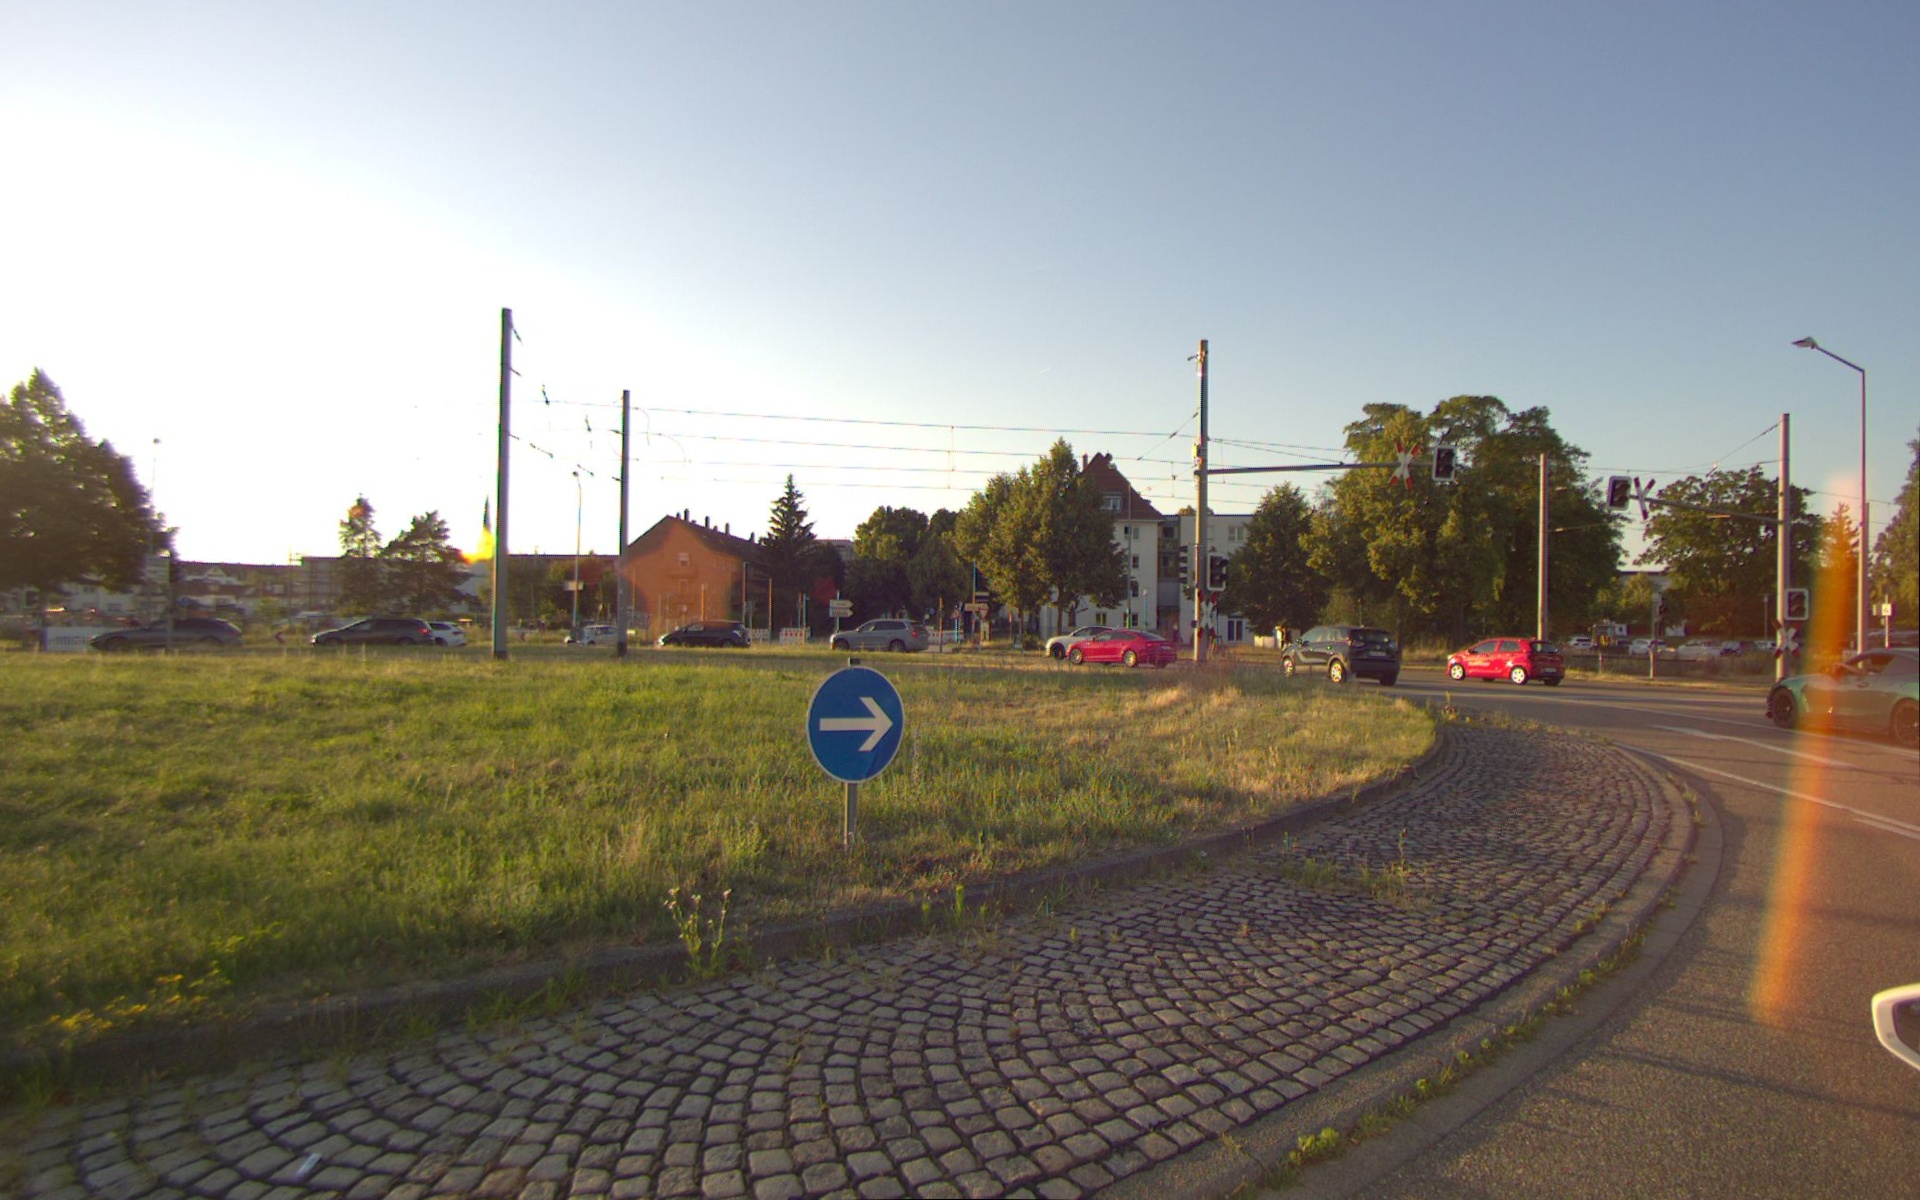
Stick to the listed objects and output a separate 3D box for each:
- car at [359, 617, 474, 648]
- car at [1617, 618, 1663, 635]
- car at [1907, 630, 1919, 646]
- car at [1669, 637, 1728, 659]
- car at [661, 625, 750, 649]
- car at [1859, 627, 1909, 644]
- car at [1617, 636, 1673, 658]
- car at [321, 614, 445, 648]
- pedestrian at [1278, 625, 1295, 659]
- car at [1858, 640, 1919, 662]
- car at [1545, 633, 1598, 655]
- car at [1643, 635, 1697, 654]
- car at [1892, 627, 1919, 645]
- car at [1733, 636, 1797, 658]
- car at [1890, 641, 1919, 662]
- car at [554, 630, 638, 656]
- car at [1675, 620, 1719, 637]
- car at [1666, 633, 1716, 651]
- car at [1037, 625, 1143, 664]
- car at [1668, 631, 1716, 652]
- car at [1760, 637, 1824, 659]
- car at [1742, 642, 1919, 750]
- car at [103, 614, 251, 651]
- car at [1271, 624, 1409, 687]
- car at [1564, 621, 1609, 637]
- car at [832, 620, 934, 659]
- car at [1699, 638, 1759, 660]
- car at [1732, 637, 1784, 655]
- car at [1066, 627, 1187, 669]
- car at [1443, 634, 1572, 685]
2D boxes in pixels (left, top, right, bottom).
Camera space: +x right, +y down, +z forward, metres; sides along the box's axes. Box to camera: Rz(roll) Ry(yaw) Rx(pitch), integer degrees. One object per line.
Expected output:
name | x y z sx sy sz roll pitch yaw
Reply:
car | -25.629 1.526 47.559 4.393 1.385 2.104 1 -1 -15
car | 86.232 3.399 127.440 4.505 2.040 2.001 1 -1 5
car | 105.563 4.125 108.720 1.971 1.728 3.979 1 -1 -22
car | 59.495 3.860 81.037 1.960 1.625 4.002 1 -1 3
car | -12.523 1.801 49.558 3.919 1.119 1.691 1 -1 8
car | 108.010 4.143 117.449 3.919 1.840 2.001 1 -1 5
car | 54.735 3.712 80.336 1.960 1.625 4.002 1 -1 3
car | -24.320 1.320 42.566 4.323 1.394 1.989 1 -1 -24
pedestrian | 18.456 2.358 56.746 0.614 1.918 0.662 2 0 -35
car | 73.861 4.024 79.625 1.960 1.625 4.002 1 -1 3
car | 49.393 3.555 81.228 1.960 1.625 4.002 1 -1 3
car | 69.189 4.342 97.931 3.919 1.684 1.904 1 -1 5
car | 107.430 4.043 112.598 3.919 2.040 2.001 1 -1 11
car | 63.995 3.726 79.930 1.960 1.625 4.002 1 -1 3
car | 76.332 4.098 79.474 1.960 1.625 4.002 1 -1 3
car | -21.466 2.521 59.402 2.071 1.385 4.462 0 -1 26
car | 93.182 3.606 127.032 4.033 2.040 2.001 1 -1 4
car | 73.140 4.201 100.575 3.934 1.684 1.994 0 -1 35
car | 6.197 2.072 48.154 4.632 1.728 1.996 0 -1 31
car | 75.542 4.233 103.673 3.934 2.040 1.994 0 -1 35
car | 66.348 3.799 80.170 1.960 1.625 4.002 1 -1 3
car | 14.371 1.395 15.261 1.959 1.389 4.738 1 -1 10
car | -30.684 1.262 39.564 4.299 1.394 1.985 1 -1 -29
car | 10.626 1.519 28.384 1.862 1.605 3.993 1 -1 -10
car | 79.557 3.668 127.624 4.507 2.040 2.000 1 -1 0
car | -3.712 1.860 48.364 4.539 1.759 1.895 0 -1 22
car | 61.614 3.922 80.560 1.960 1.625 4.002 1 -1 3
car | 77.326 4.431 97.414 3.938 1.684 1.894 0 -1 39
car | 6.140 1.769 37.593 1.877 1.410 4.451 1 -1 -36
car | 17.759 1.892 32.735 1.618 1.519 3.474 1 -1 -21
